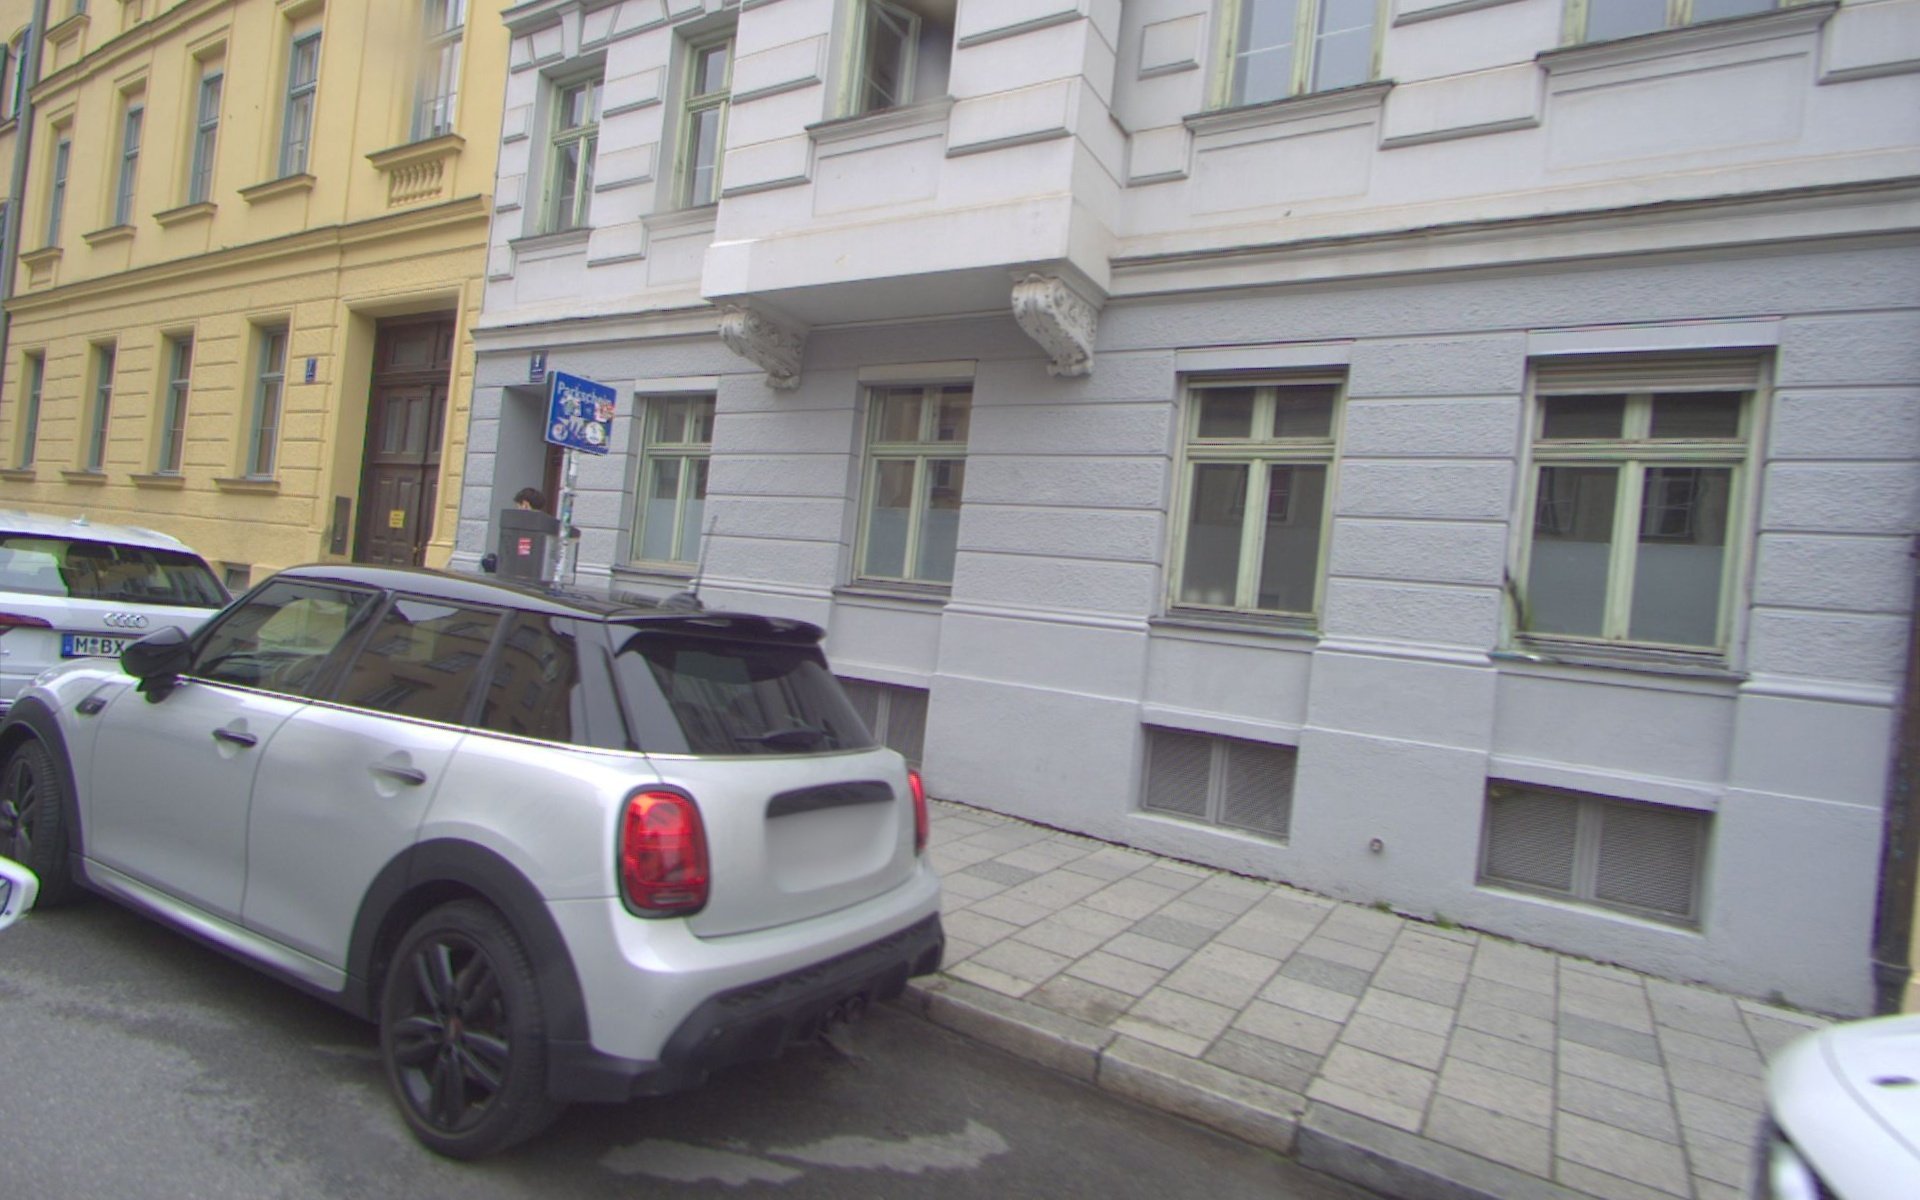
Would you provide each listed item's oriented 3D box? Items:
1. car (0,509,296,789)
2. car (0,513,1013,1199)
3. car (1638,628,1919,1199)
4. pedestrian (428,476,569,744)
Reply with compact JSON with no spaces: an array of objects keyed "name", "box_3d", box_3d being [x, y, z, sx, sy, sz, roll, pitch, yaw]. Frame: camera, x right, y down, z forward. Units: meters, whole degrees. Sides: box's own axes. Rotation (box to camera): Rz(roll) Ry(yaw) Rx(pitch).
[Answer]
[{"name":"car","box_3d":[-6.623,0.088,6.761,4.735,1.425,1.710,6,-1,32]},{"name":"car","box_3d":[-2.083,0.580,3.906,4.136,1.421,1.711,6,-1,30]},{"name":"car","box_3d":[3.167,1.095,0.618,4.393,1.602,1.745,6,-1,32]},{"name":"pedestrian","box_3d":[-3.671,0.066,8.004,0.697,2.007,0.669,5,3,32]}]
